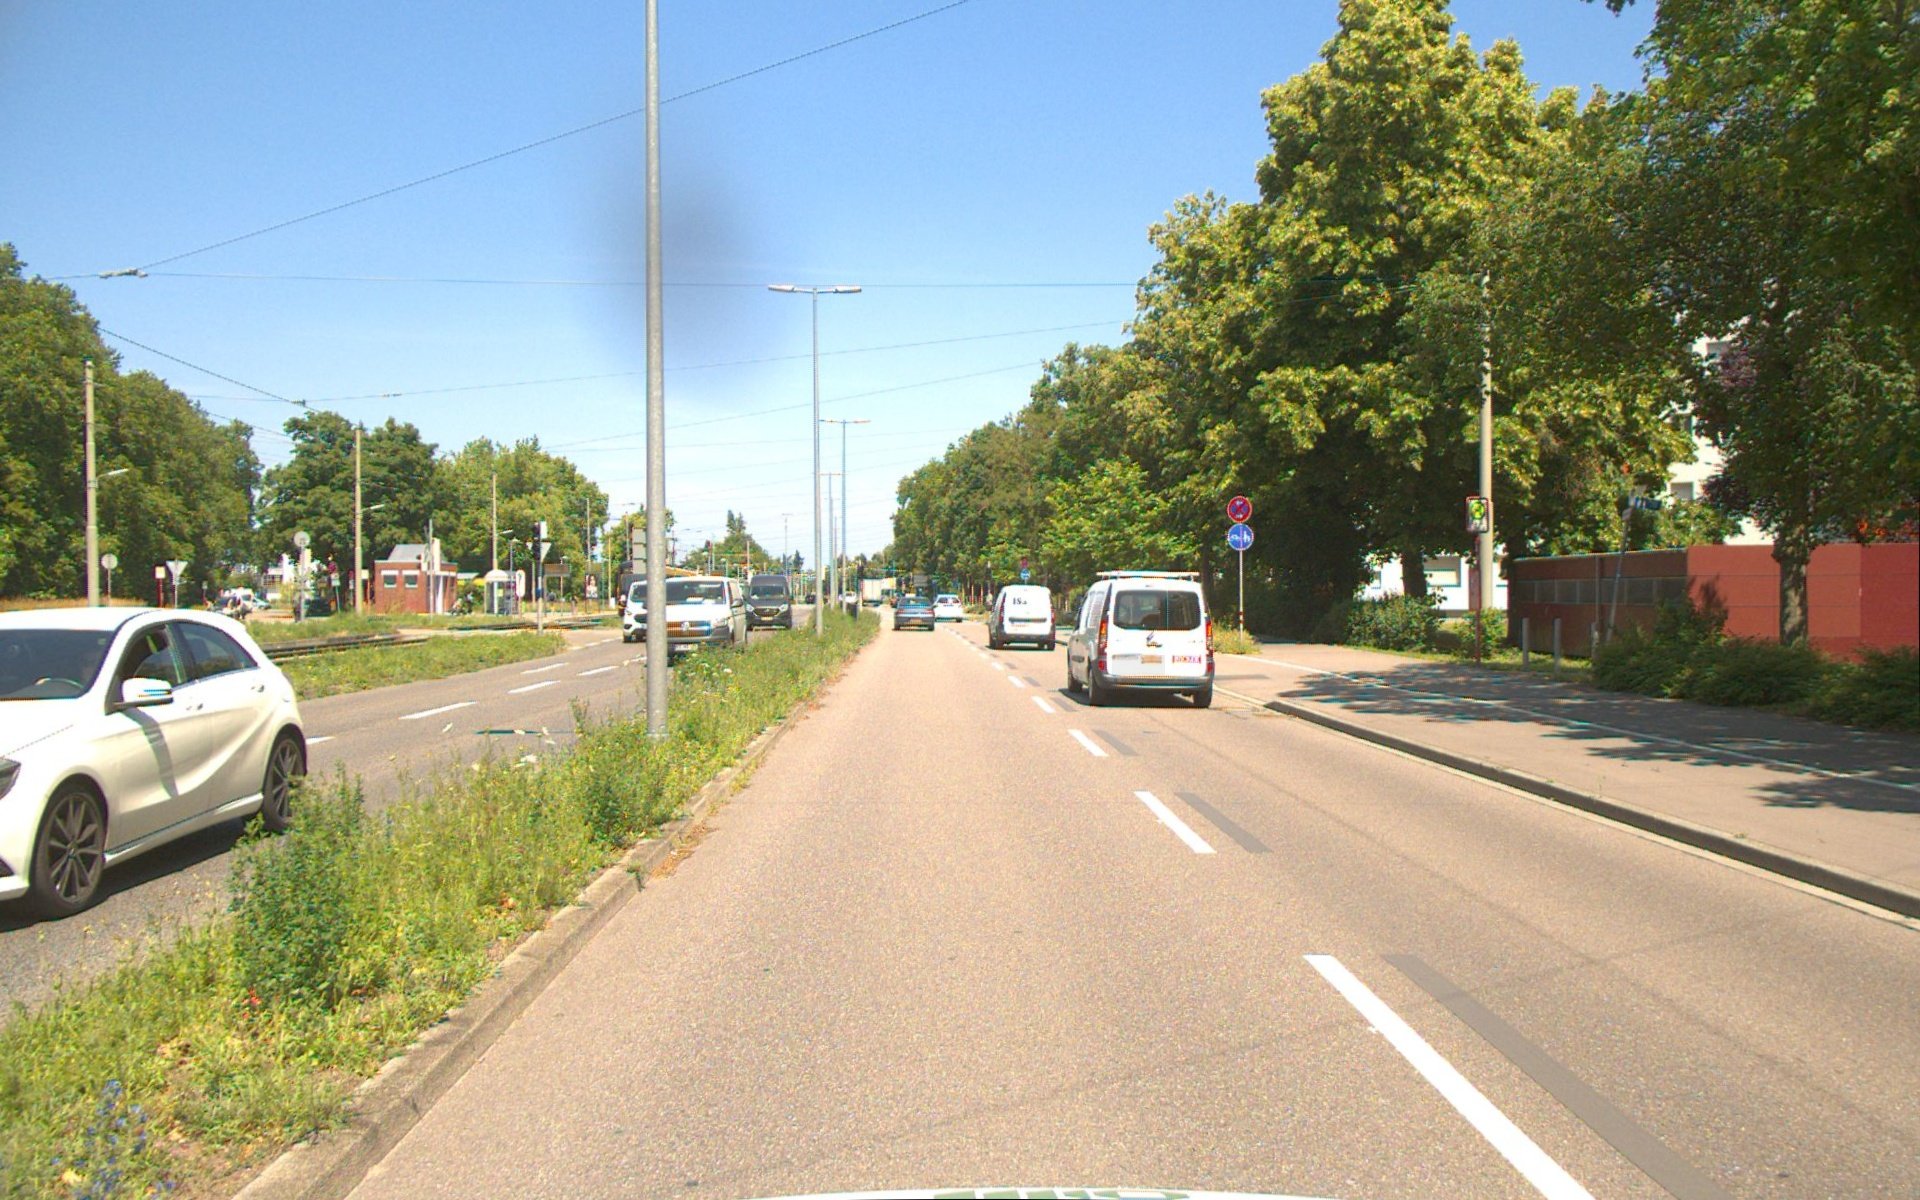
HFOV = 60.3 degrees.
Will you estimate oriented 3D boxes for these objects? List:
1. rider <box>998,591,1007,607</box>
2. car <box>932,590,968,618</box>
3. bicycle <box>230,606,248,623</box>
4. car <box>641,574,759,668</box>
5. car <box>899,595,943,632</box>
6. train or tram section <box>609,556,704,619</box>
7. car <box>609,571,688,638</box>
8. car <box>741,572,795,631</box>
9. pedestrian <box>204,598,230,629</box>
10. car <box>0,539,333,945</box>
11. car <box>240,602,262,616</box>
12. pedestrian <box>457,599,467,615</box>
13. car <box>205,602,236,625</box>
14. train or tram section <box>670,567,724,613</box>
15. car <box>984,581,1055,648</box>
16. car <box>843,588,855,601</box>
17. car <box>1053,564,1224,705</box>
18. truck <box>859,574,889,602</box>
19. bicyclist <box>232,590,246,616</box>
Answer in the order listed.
[{"bbox_3d":[3.490,-0.104,135.475,0.665,1.304,0.533,0,0,-5],"label":"rider"},{"bbox_3d":[-0.589,0.203,94.206,1.768,1.567,3.996,0,0,-5],"label":"car"},{"bbox_3d":[-37.977,0.764,87.112,0.498,0.917,1.562,0,0,-10],"label":"bicycle"},{"bbox_3d":[-5.849,0.423,37.809,1.792,1.939,5.566,-2,0,0],"label":"car"},{"bbox_3d":[-1.666,0.541,69.775,1.766,1.512,3.998,0,0,-3],"label":"car"},{"bbox_3d":[-20.809,-0.768,116.464,2.733,3.732,37.482,0,0,-5],"label":"train or tram section"},{"bbox_3d":[-10.364,0.124,55.330,1.851,2.053,5.080,-2,0,-3],"label":"car"},{"bbox_3d":[-8.267,0.058,71.713,1.954,2.407,5.369,-1,0,-3],"label":"car"},{"bbox_3d":[-41.966,0.742,93.397,0.508,1.731,1.264,0,0,40],"label":"pedestrian"},{"bbox_3d":[-5.109,0.634,9.045,1.792,1.769,4.037,-2,0,0],"label":"car"},{"bbox_3d":[-81.121,1.039,189.229,1.963,1.493,3.978,0,0,-19],"label":"car"},{"bbox_3d":[-31.659,0.430,105.091,0.472,1.036,0.522,0,0,-3],"label":"pedestrian"},{"bbox_3d":[-51.255,0.921,114.644,1.968,1.493,3.969,0,0,-24],"label":"car"},{"bbox_3d":[-23.296,-0.828,148.092,2.733,3.732,25.974,0,0,-5],"label":"train or tram section"},{"bbox_3d":[1.688,0.370,48.099,1.693,1.845,3.998,1,1,-3],"label":"car"},{"bbox_3d":[-16.743,-0.830,249.346,1.655,1.930,3.866,0,0,-5],"label":"car"},{"bbox_3d":[2.566,0.465,24.777,1.788,1.914,4.452,1,0,-4],"label":"car"},{"bbox_3d":[-12.145,-1.674,233.506,3.823,3.879,10.782,-1,0,-5],"label":"truck"},{"bbox_3d":[-37.941,0.157,87.024,0.498,1.359,0.679,0,0,-10],"label":"bicyclist"}]
